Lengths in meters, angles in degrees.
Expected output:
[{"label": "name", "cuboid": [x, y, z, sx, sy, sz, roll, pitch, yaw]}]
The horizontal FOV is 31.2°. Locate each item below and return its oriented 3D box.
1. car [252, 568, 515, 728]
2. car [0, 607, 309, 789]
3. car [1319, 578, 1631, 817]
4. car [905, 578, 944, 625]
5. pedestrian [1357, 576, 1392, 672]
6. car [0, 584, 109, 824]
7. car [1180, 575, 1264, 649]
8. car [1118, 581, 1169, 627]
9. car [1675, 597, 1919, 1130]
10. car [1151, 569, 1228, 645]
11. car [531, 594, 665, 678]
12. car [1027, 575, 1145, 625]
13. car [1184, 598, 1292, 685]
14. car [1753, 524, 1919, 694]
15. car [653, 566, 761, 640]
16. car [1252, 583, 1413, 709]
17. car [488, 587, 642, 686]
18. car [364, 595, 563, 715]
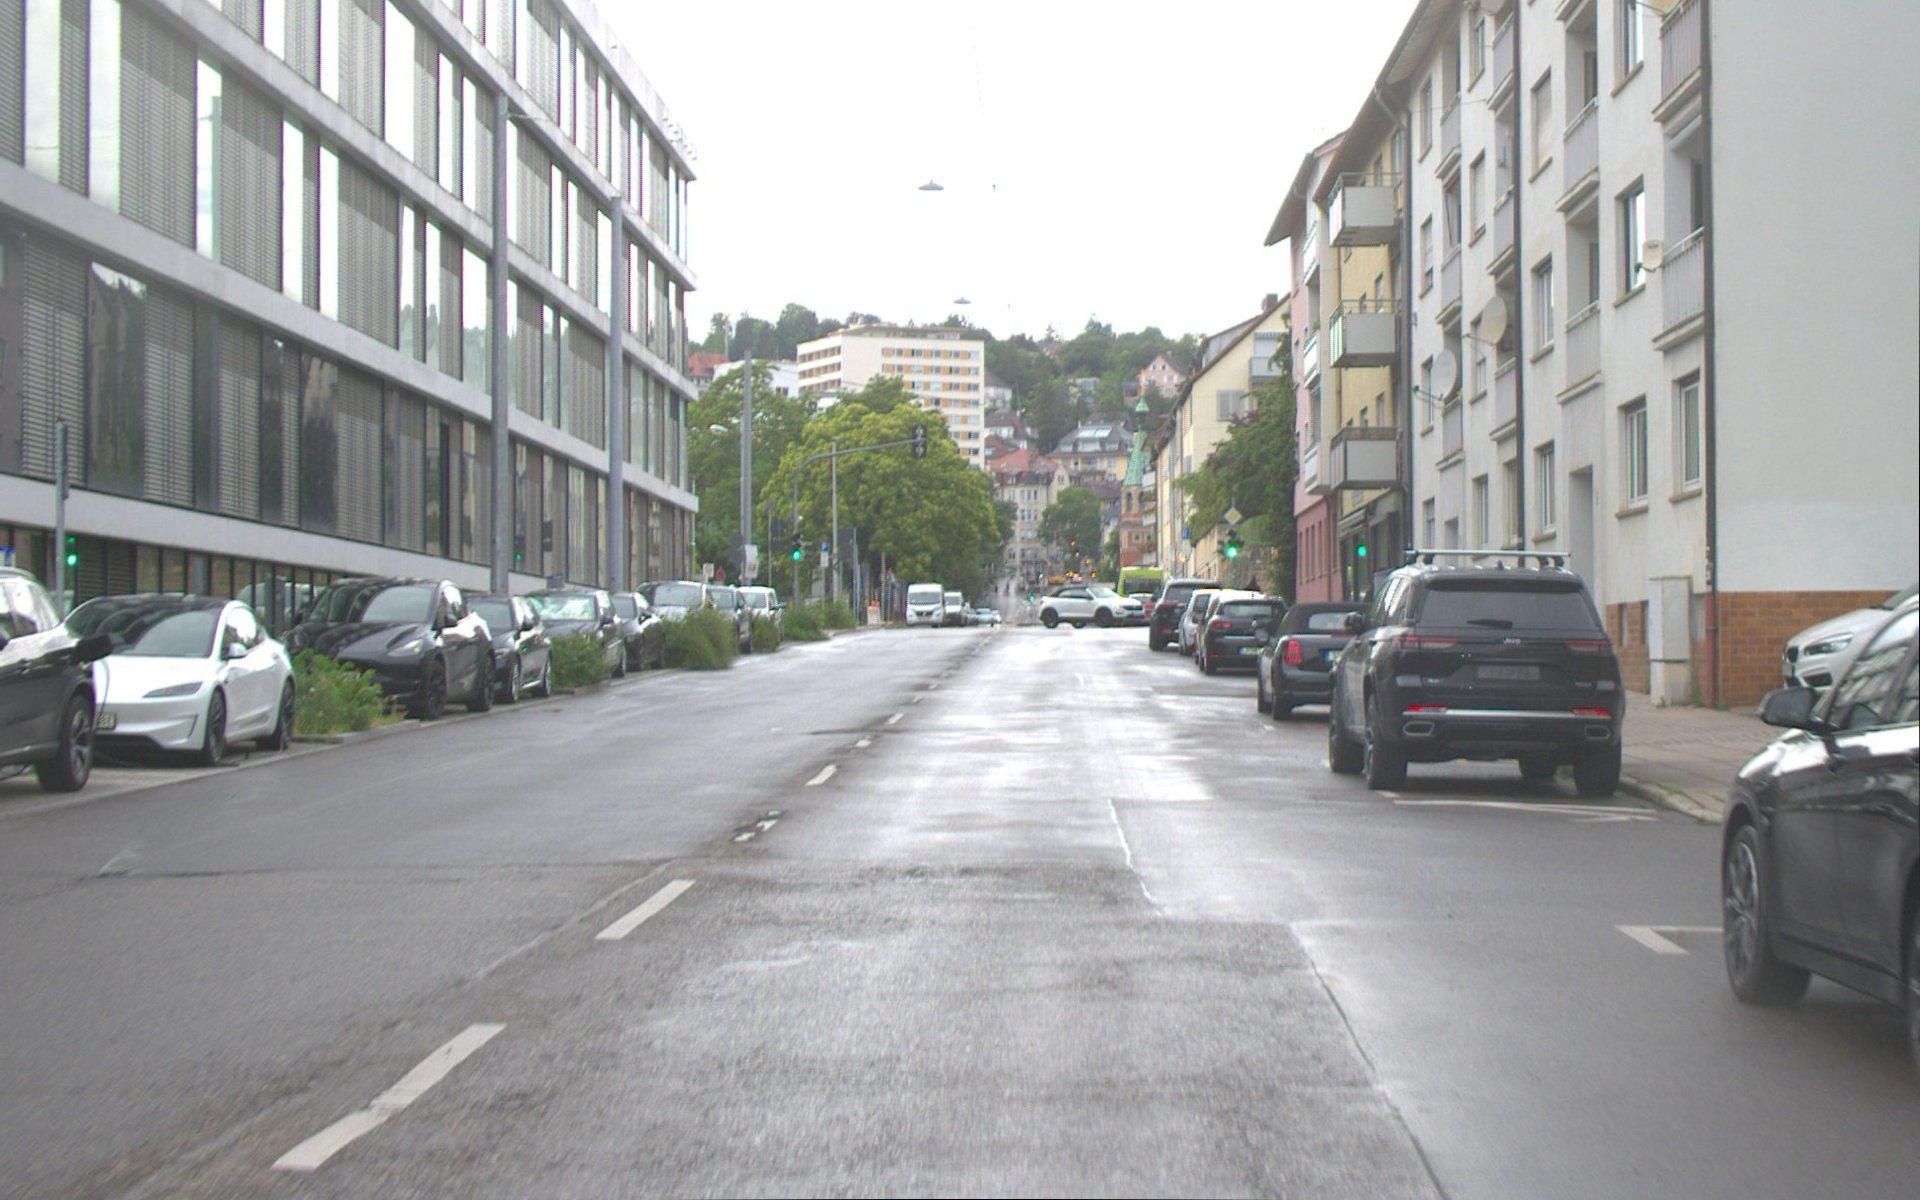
[{"label": "car", "cuboid": [-6.757, 0.513, 40.834, 1.963, 1.744, 4.941, 1, 1, 4]}, {"label": "car", "cuboid": [-7.212, 0.815, 30.703, 1.821, 1.414, 4.402, 1, 1, 2]}, {"label": "car", "cuboid": [4.141, 0.720, 28.386, 1.935, 1.744, 4.796, 1, 1, 1]}, {"label": "car", "cuboid": [-1.976, 0.067, 190.881, 2.105, 2.538, 4.751, 1, 0, -1]}, {"label": "pedestrian", "cuboid": [8.190, 0.469, 67.920, 0.639, 1.864, 0.538, 1, 0, 4]}, {"label": "car", "cuboid": [-7.491, 0.714, 24.004, 1.849, 1.612, 4.491, 1, 1, 2]}, {"label": "car", "cuboid": [5.817, 0.242, 76.632, 1.635, 1.566, 3.711, 1, 1, 1]}, {"label": "car", "cuboid": [7.221, 0.137, 134.893, 1.867, 1.764, 4.189, 1, 1, 4]}, {"label": "car", "cuboid": [3.710, 0.794, 11.441, 1.743, 1.528, 4.319, 1, 1, 0]}, {"label": "car", "cuboid": [5.547, 0.142, 83.403, 1.655, 1.732, 4.180, 0, 1, 1]}, {"label": "car", "cuboid": [-6.534, 0.622, 62.485, 1.837, 1.391, 4.392, 1, 1, 2]}, {"label": "car", "cuboid": [4.593, 0.019, 125.707, 4.201, 1.663, 1.636, -2, -4, 41]}, {"label": "car", "cuboid": [5.031, 0.734, 62.551, 1.706, 1.449, 3.984, 1, 1, 1]}, {"label": "car", "cuboid": [10.946, 0.009, 36.748, 4.438, 1.707, 1.905, -3, 0, 1]}, {"label": "car", "cuboid": [-5.714, 0.050, 78.142, 1.802, 1.598, 4.233, 1, 0, 4]}, {"label": "car", "cuboid": [4.627, 0.548, 43.137, 1.673, 1.454, 3.764, 0, 1, 1]}, {"label": "car", "cuboid": [-6.399, 0.567, 56.130, 1.863, 1.484, 4.346, 1, 1, 2]}, {"label": "car", "cuboid": [-6.685, 0.712, 46.789, 1.871, 1.467, 4.740, 1, 1, 2]}]
